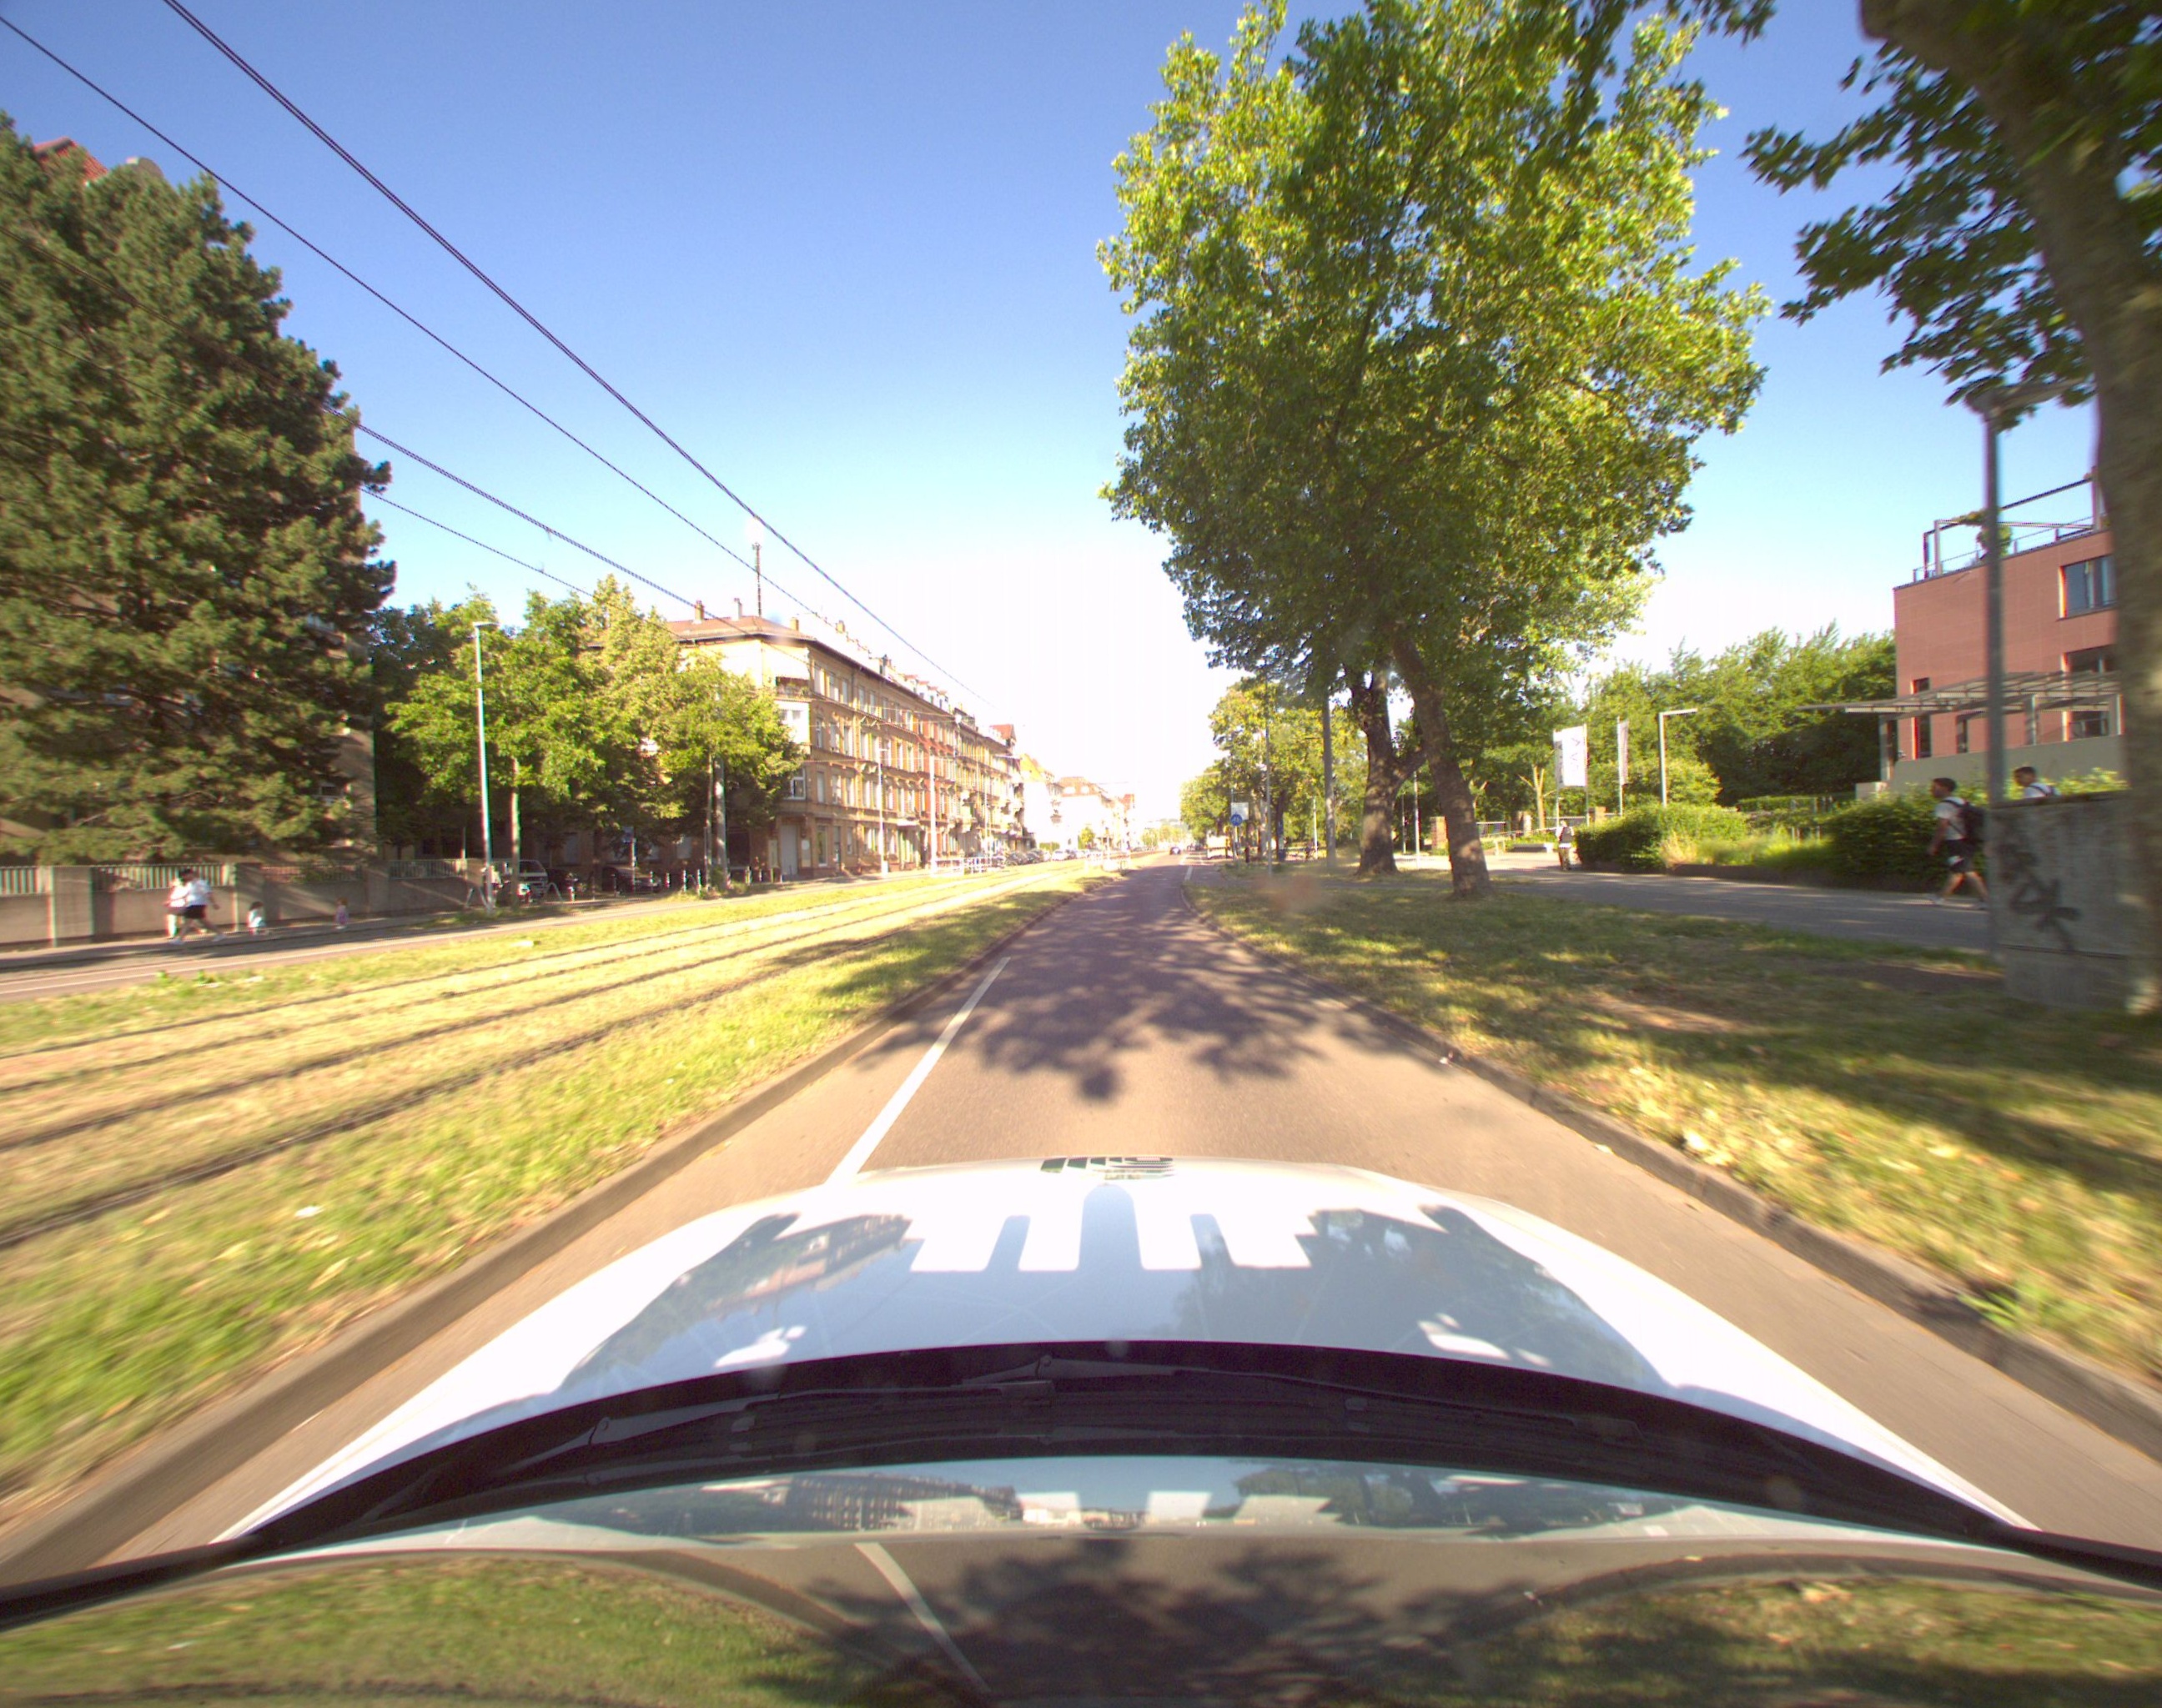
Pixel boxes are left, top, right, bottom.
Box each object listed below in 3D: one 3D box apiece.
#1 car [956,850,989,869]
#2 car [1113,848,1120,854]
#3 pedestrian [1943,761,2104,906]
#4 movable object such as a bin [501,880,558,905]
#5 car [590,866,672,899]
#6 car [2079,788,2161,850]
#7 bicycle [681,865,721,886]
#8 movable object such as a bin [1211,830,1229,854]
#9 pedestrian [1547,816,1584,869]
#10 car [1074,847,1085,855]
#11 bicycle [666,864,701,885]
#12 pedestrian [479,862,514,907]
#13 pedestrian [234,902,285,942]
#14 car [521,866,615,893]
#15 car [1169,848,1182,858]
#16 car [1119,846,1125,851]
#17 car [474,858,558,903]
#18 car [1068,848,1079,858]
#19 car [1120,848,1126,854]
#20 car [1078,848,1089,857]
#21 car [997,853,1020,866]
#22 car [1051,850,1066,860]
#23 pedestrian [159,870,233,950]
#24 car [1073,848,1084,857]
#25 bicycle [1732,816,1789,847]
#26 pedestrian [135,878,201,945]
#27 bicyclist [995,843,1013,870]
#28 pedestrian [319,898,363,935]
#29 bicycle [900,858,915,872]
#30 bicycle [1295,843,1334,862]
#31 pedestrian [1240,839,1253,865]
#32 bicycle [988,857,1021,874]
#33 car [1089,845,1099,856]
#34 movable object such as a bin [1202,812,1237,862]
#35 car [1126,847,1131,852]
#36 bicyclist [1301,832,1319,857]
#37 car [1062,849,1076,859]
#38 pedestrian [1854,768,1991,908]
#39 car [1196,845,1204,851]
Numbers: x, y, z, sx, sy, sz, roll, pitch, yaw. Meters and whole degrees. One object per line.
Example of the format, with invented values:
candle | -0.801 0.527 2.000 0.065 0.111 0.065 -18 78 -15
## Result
car | -10.537 0.495 79.355 2.004 1.753 4.568 0 2 7
car | 9.384 -0.917 217.113 1.518 1.560 3.231 0 2 7
pedestrian | 12.480 -0.259 10.835 0.801 1.793 1.112 -3 0 8
movable object such as a bin | -20.574 1.409 30.395 1.238 0.865 1.239 0 0 6
car | -22.184 1.363 40.094 4.138 1.471 2.013 -1 0 37
car | 28.864 -0.991 21.204 4.165 1.506 1.991 -4 1 -13
bicycle | -22.538 1.253 48.344 0.779 1.179 2.251 0 1 19
movable object such as a bin | 19.139 -1.658 112.180 1.957 3.013 4.807 -5 0 7
pedestrian | 14.633 -0.341 24.609 0.646 1.539 0.785 -3 0 8
car | -0.269 -0.566 149.846 1.518 1.560 3.231 0 2 7
bicycle | -23.738 1.213 48.644 0.781 1.179 2.244 0 1 6
pedestrian | -21.100 1.101 29.410 0.615 1.593 0.799 0 0 6
pedestrian | -20.946 1.719 20.770 0.582 0.932 0.651 -3 0 -2
car | -29.521 1.453 46.928 4.158 1.471 2.003 -1 0 5
car | 16.181 -0.145 139.517 1.982 1.684 4.009 0 1 8
car | 12.222 -1.602 242.807 1.518 1.610 3.231 0 2 7
car | -27.458 1.235 39.523 4.555 2.013 2.013 0 1 37
car | -1.242 -0.149 139.379 1.518 1.560 3.231 0 2 7
car | 12.130 -0.889 233.872 1.518 1.560 3.231 0 2 7
car | 0.493 -0.266 154.753 1.518 1.560 3.231 0 2 7
car | -8.312 0.596 93.828 1.767 1.406 3.918 0 2 7
car | -3.515 0.155 129.264 1.732 1.560 3.776 0 2 7
pedestrian | -20.704 1.301 19.063 0.646 1.775 0.890 -3 0 7
car | -0.501 -0.208 145.889 1.518 1.560 3.231 0 2 7
bicycle | 27.156 -0.891 32.579 0.816 1.156 1.933 -3 0 7
pedestrian | -22.198 1.372 19.810 0.646 1.539 0.785 -3 0 6
bicyclist | -5.039 0.148 53.279 0.923 1.715 0.761 -3 1 -22
pedestrian | -20.346 1.711 22.396 0.645 0.932 0.587 -3 0 13
bicycle | -15.221 0.967 71.328 0.695 1.180 1.755 0 0 8
bicycle | 14.610 -0.092 51.043 2.249 1.040 0.768 -2 1 5
pedestrian | 10.771 -0.110 52.987 0.657 1.647 0.864 -4 0 8
bicycle | -4.993 0.762 53.293 1.961 1.040 0.761 -3 1 -22
car | 2.815 -0.794 173.625 1.649 2.139 3.533 0 2 7
movable object such as a bin | 15.255 -1.828 90.315 3.070 5.088 8.911 -5 0 8
car | 14.898 -1.438 255.006 1.518 1.610 3.231 0 2 7
bicyclist | 14.363 -0.606 51.060 0.899 1.496 0.768 -2 1 5
car | -2.021 -0.058 133.878 1.732 1.560 3.776 0 2 7
pedestrian | 11.552 -0.210 11.227 0.746 1.793 1.089 -3 0 8
car | 35.309 -1.716 241.987 1.986 1.859 4.002 0 1 2
